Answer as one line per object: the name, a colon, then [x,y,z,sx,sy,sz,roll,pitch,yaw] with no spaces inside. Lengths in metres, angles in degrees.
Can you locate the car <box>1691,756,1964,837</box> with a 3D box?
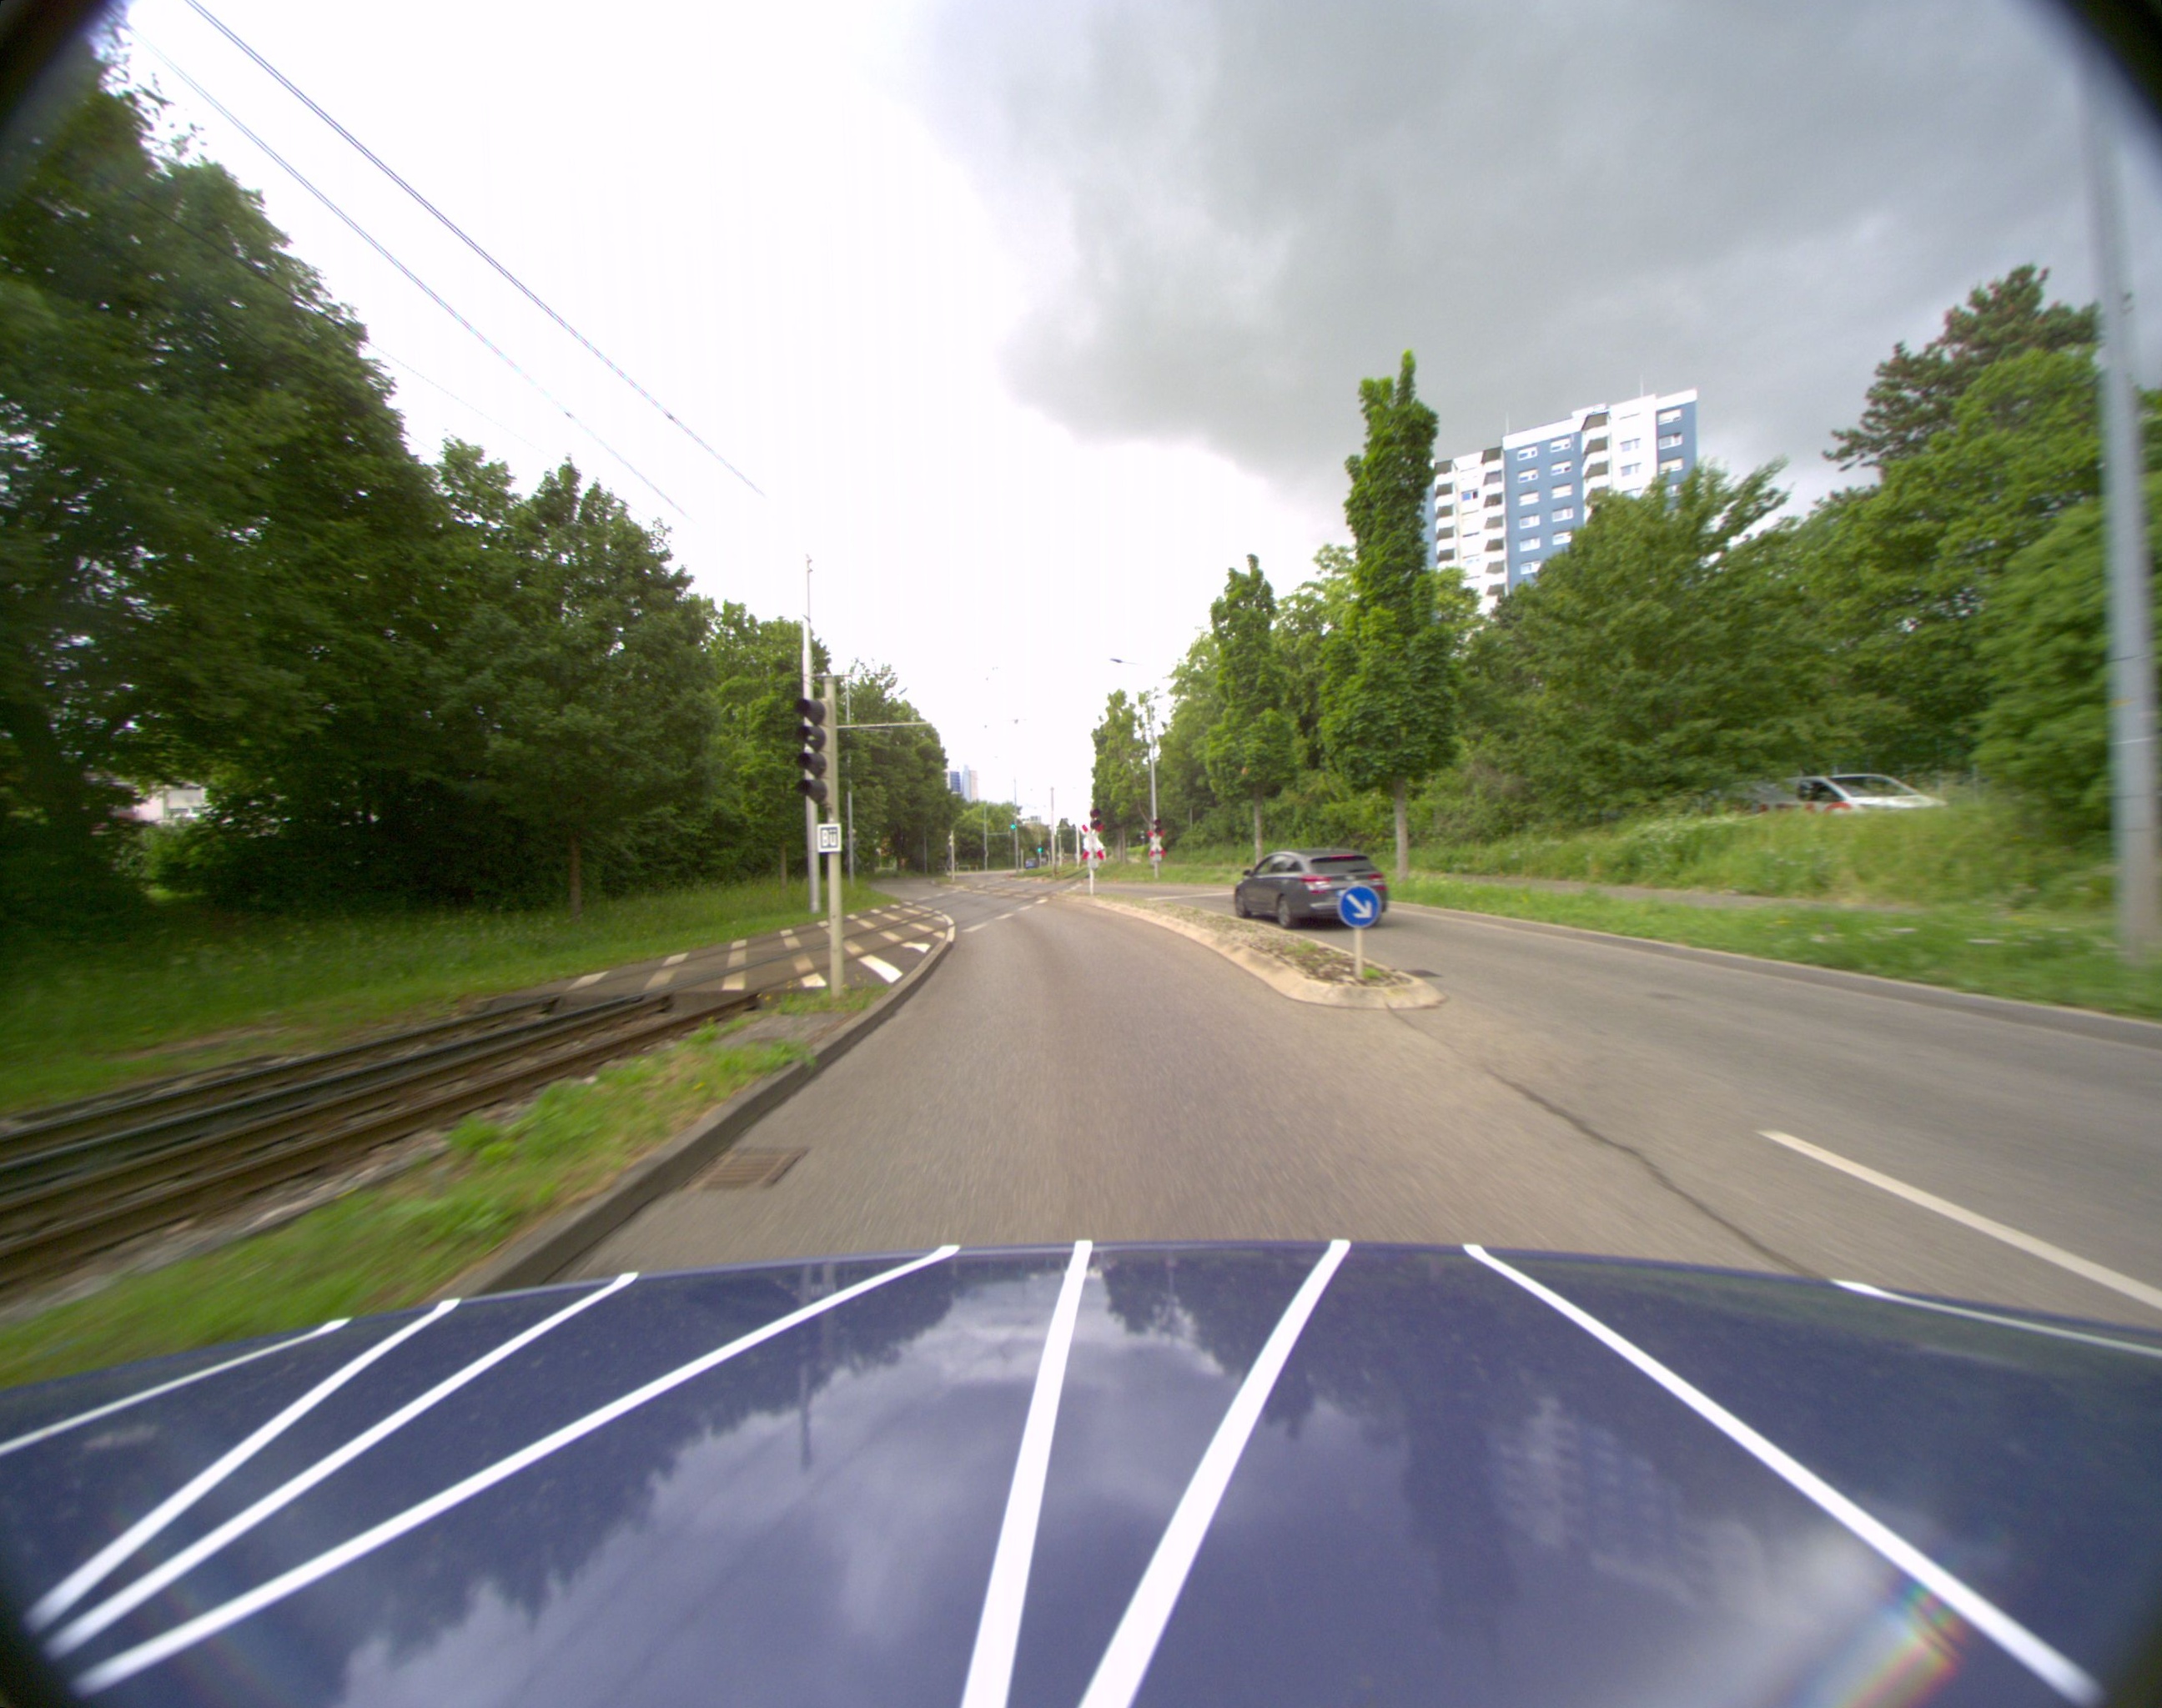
car: [19.766,-1.413,20.602,2.144,1.715,5.323,-2,0,1]

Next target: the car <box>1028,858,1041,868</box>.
car: [-7.377,1.495,120.669,1.873,1.512,4.237,-3,-1,-5]

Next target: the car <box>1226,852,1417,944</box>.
car: [4.509,0.747,15.077,1.999,1.430,4.424,-4,0,-5]
